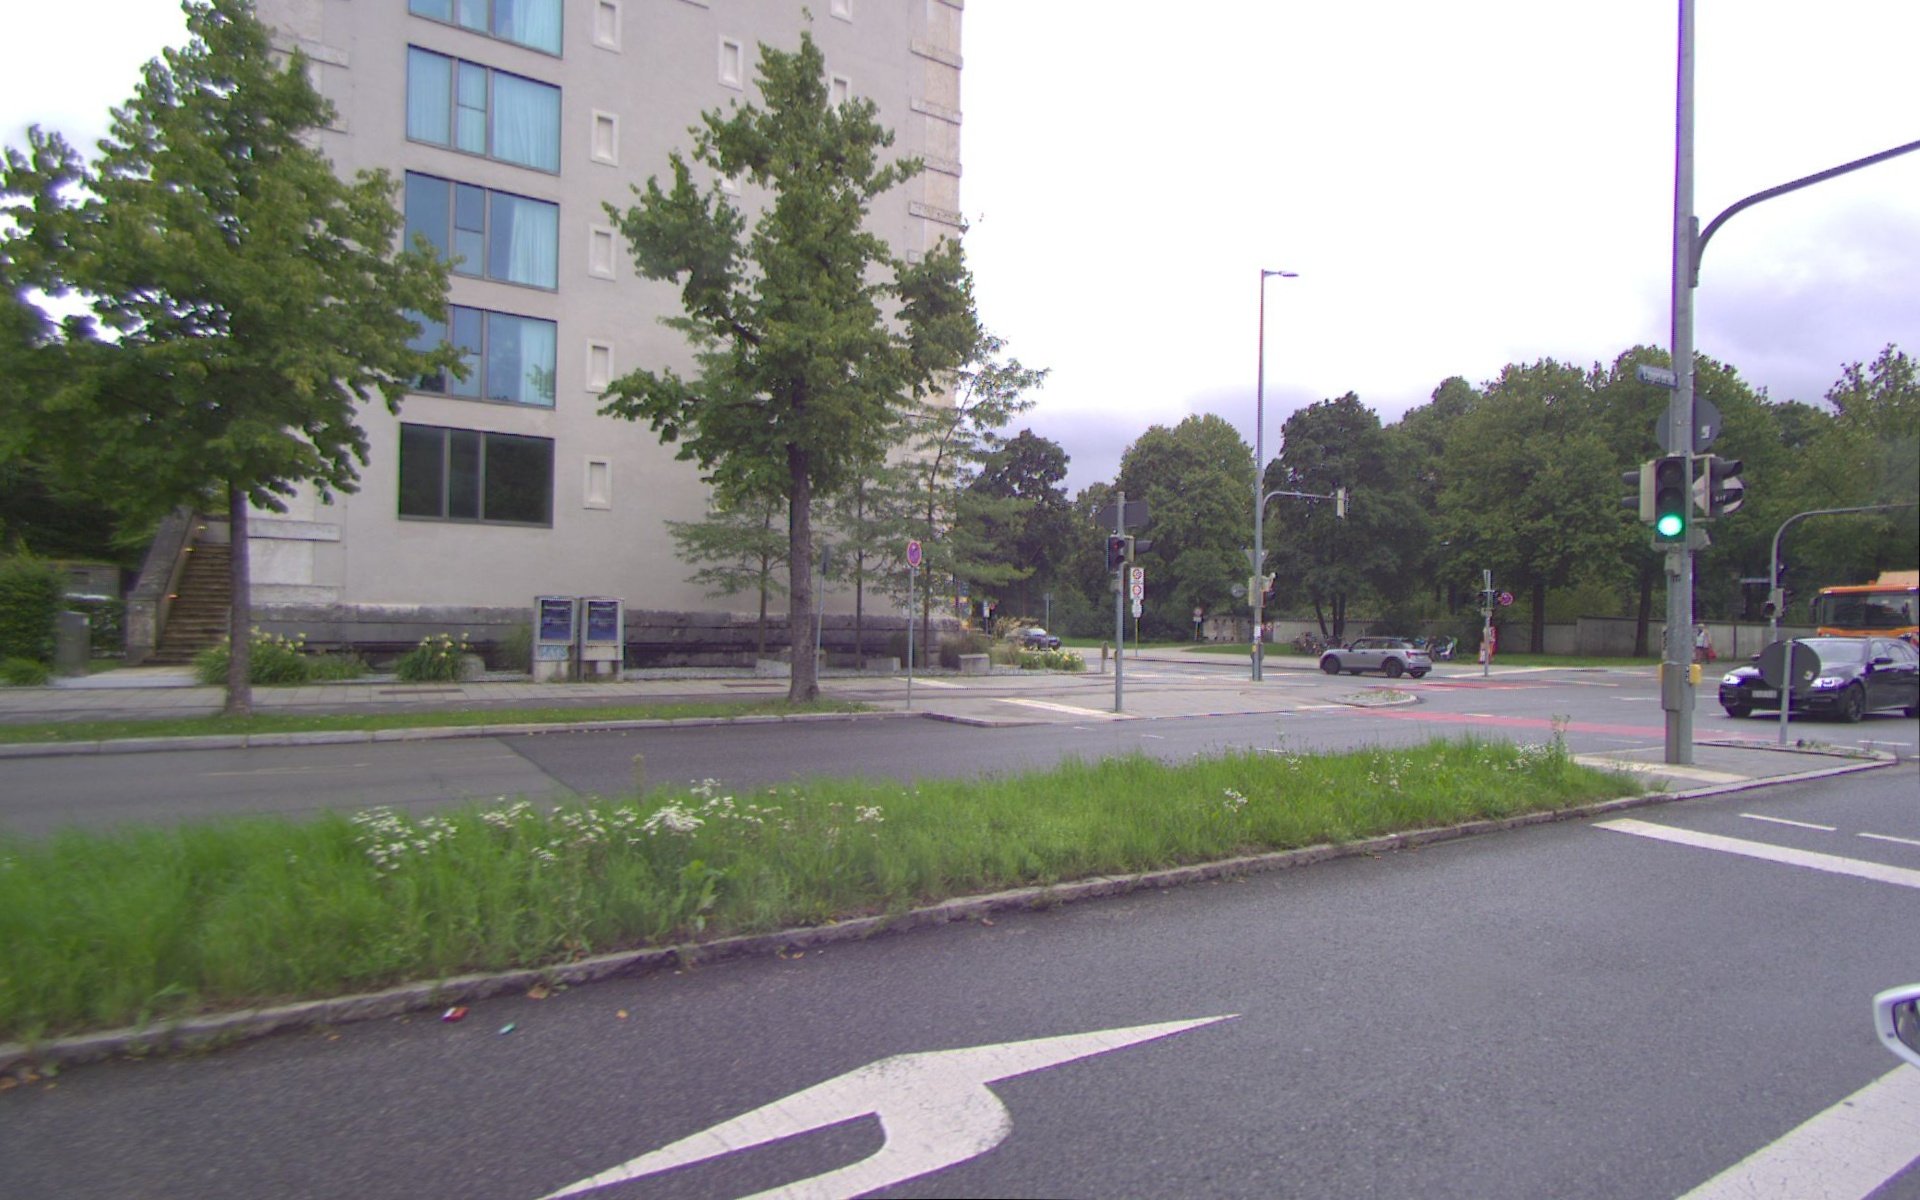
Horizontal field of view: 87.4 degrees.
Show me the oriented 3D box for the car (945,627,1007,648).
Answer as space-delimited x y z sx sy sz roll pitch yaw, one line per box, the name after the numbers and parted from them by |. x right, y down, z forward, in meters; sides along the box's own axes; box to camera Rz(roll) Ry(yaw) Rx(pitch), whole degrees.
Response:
1.137 2.660 71.040 4.182 1.435 1.904 2 -1 -41 | car

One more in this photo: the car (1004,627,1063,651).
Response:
4.715 2.514 64.702 1.822 1.435 4.184 2 -1 -29 | car

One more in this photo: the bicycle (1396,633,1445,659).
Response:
21.655 2.158 47.203 2.468 1.202 0.831 2 -1 -31 | bicycle

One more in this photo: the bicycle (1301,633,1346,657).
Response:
19.034 2.369 52.549 2.468 1.202 0.831 2 -1 -31 | bicycle

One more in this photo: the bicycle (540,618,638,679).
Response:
-7.586 0.988 20.559 1.805 1.197 0.542 2 -1 -31 | bicycle

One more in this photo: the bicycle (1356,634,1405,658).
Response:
21.704 2.380 51.815 2.851 1.202 0.831 2 -1 -31 | bicycle

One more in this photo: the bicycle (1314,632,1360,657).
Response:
19.306 2.276 51.444 2.468 1.202 0.831 2 -1 -31 | bicycle

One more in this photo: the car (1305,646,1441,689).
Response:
15.222 2.459 37.225 1.913 1.481 4.325 2 -3 -34 | car

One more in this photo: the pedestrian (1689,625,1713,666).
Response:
32.408 1.971 43.915 0.512 1.763 0.703 1 -1 -34 | pedestrian

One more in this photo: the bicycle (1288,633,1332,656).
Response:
18.677 2.354 53.520 2.468 1.202 0.831 2 -1 -31 | bicycle

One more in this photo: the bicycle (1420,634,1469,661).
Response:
22.301 2.191 46.218 2.468 1.202 0.831 2 -1 -31 | bicycle

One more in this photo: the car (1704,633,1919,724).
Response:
15.899 1.379 18.409 4.842 1.481 1.917 2 -3 -31 | car

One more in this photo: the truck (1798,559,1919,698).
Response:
26.319 0.812 27.387 7.174 3.400 2.770 2 -1 -28 | truck
